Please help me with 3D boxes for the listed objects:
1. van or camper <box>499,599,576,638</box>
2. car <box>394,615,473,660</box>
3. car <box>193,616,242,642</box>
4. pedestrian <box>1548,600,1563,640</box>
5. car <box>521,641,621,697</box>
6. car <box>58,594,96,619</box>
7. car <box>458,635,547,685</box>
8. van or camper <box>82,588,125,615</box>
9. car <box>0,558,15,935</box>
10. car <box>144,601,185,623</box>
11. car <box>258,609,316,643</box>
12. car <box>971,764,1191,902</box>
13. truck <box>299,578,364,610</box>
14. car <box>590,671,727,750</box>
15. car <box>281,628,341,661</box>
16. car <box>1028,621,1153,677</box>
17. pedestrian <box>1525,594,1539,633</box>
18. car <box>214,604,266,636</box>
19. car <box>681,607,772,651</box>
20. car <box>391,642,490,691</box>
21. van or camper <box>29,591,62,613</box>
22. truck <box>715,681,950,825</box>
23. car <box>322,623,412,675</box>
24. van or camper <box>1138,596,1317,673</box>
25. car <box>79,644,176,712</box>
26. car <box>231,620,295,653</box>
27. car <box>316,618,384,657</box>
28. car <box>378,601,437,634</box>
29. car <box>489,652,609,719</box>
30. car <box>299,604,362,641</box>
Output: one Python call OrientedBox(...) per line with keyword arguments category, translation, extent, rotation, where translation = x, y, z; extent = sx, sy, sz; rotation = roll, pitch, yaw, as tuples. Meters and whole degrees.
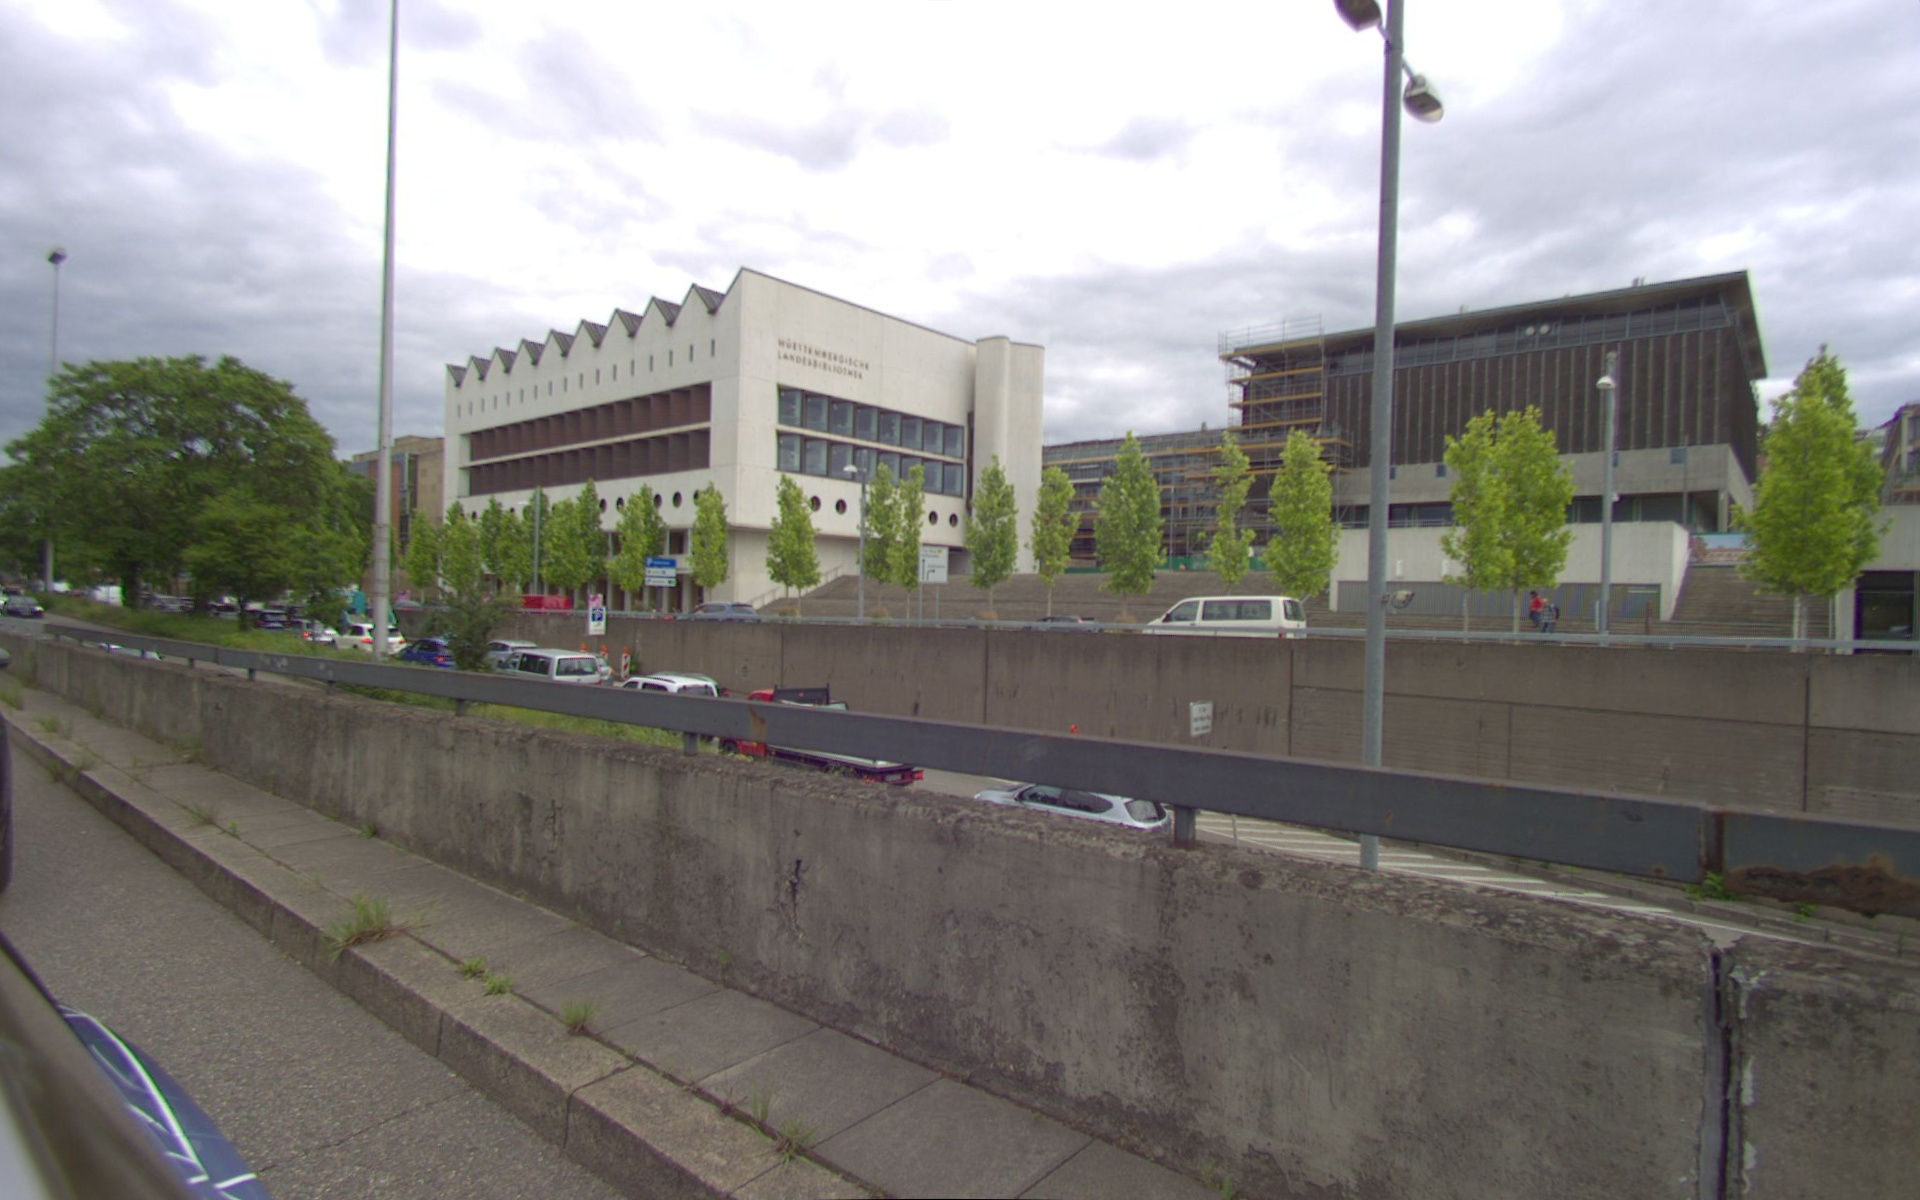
OrientedBox(category="van or camper", translation=(-22.892, 0.998, 54.751), extent=(4.552, 2.029, 1.974), rotation=(-1, -1, 39))
OrientedBox(category="car", translation=(-25.284, 1.814, 48.536), extent=(3.998, 2.029, 1.972), rotation=(-1, -4, 41))
OrientedBox(category="car", translation=(-44.291, 1.699, 60.358), extent=(3.360, 1.497, 1.653), rotation=(-1, -1, 41))
OrientedBox(category="pedestrian", translation=(23.012, 0.774, 39.080), extent=(0.461, 1.533, 0.377), rotation=(0, 0, 35))
OrientedBox(category="car", translation=(-15.307, 2.678, 39.775), extent=(3.998, 2.029, 1.972), rotation=(-1, -4, 41))
OrientedBox(category="car", translation=(-77.348, 0.552, 88.626), extent=(3.998, 2.028, 1.973), rotation=(-1, 2, 41))
OrientedBox(category="car", translation=(-19.829, 2.585, 43.848), extent=(3.998, 2.029, 1.972), rotation=(-1, -4, 41))
OrientedBox(category="van or camper", translation=(-67.232, 0.127, 79.421), extent=(3.998, 2.029, 2.010), rotation=(-1, -1, 41))
OrientedBox(category="car", translation=(-6.652, 0.691, 5.413), extent=(4.678, 1.690, 1.912), rotation=(-1, -1, 41))
OrientedBox(category="car", translation=(-54.341, 0.823, 69.136), extent=(3.360, 1.497, 1.653), rotation=(-1, -1, 41))
OrientedBox(category="car", translation=(-42.056, 1.618, 63.184), extent=(3.998, 2.029, 1.972), rotation=(-1, -4, 41))
OrientedBox(category="car", translation=(2.291, 4.389, 19.662), extent=(3.925, 1.829, 1.771), rotation=(-1, -1, 41))
OrientedBox(category="truck", translation=(-45.359, -0.411, 72.975), extent=(5.607, 2.174, 1.979), rotation=(-1, -1, 36))
OrientedBox(category="car", translation=(-8.892, 3.173, 29.706), extent=(3.998, 2.029, 1.972), rotation=(-1, -4, 41))
OrientedBox(category="car", translation=(-32.037, 2.155, 49.953), extent=(3.360, 1.497, 1.653), rotation=(0, -1, 41))
OrientedBox(category="car", translation=(4.612, 1.695, 35.994), extent=(3.998, 1.829, 1.973), rotation=(-2, -1, 41))
OrientedBox(category="pedestrian", translation=(22.988, 0.532, 40.654), extent=(0.461, 1.533, 0.377), rotation=(0, 0, 35))
OrientedBox(category="car", translation=(-49.927, 1.390, 70.136), extent=(3.998, 2.029, 1.972), rotation=(-1, -4, 41))
OrientedBox(category="car", translation=(-10.301, 1.273, 44.596), extent=(3.998, 1.829, 1.973), rotation=(-2, -1, 41))
OrientedBox(category="car", translation=(-20.584, 2.613, 40.029), extent=(4.280, 1.757, 1.972), rotation=(-1, -4, 41))
OrientedBox(category="van or camper", translation=(-89.657, 0.201, 99.231), extent=(3.998, 2.029, 2.010), rotation=(-1, -1, 41))
OrientedBox(category="truck", translation=(-3.223, 3.502, 24.539), extent=(5.977, 2.711, 2.294), rotation=(-1, -1, 42))
OrientedBox(category="car", translation=(-26.649, 2.176, 45.447), extent=(4.850, 2.148, 1.972), rotation=(-1, -4, 41))
OrientedBox(category="van or camper", translation=(7.596, 0.959, 28.998), extent=(4.555, 2.029, 1.973), rotation=(-2, -1, 41))
OrientedBox(category="car", translation=(-28.755, 2.619, 34.918), extent=(3.998, 2.029, 1.973), rotation=(0, 0, 41))
OrientedBox(category="car", translation=(-37.886, 1.957, 54.959), extent=(3.998, 1.672, 1.973), rotation=(-1, -1, 41))
OrientedBox(category="car", translation=(-33.812, 2.054, 56.048), extent=(4.653, 2.029, 1.973), rotation=(-1, -1, 41))
OrientedBox(category="car", translation=(-35.672, 1.104, 65.305), extent=(3.997, 2.029, 1.973), rotation=(0, 0, 40))
OrientedBox(category="car", translation=(-13.954, 2.857, 34.268), extent=(4.331, 2.029, 1.972), rotation=(-1, -4, 41))
OrientedBox(category="car", translation=(-36.638, 1.318, 58.880), extent=(3.998, 2.029, 1.972), rotation=(-1, -4, 41))
